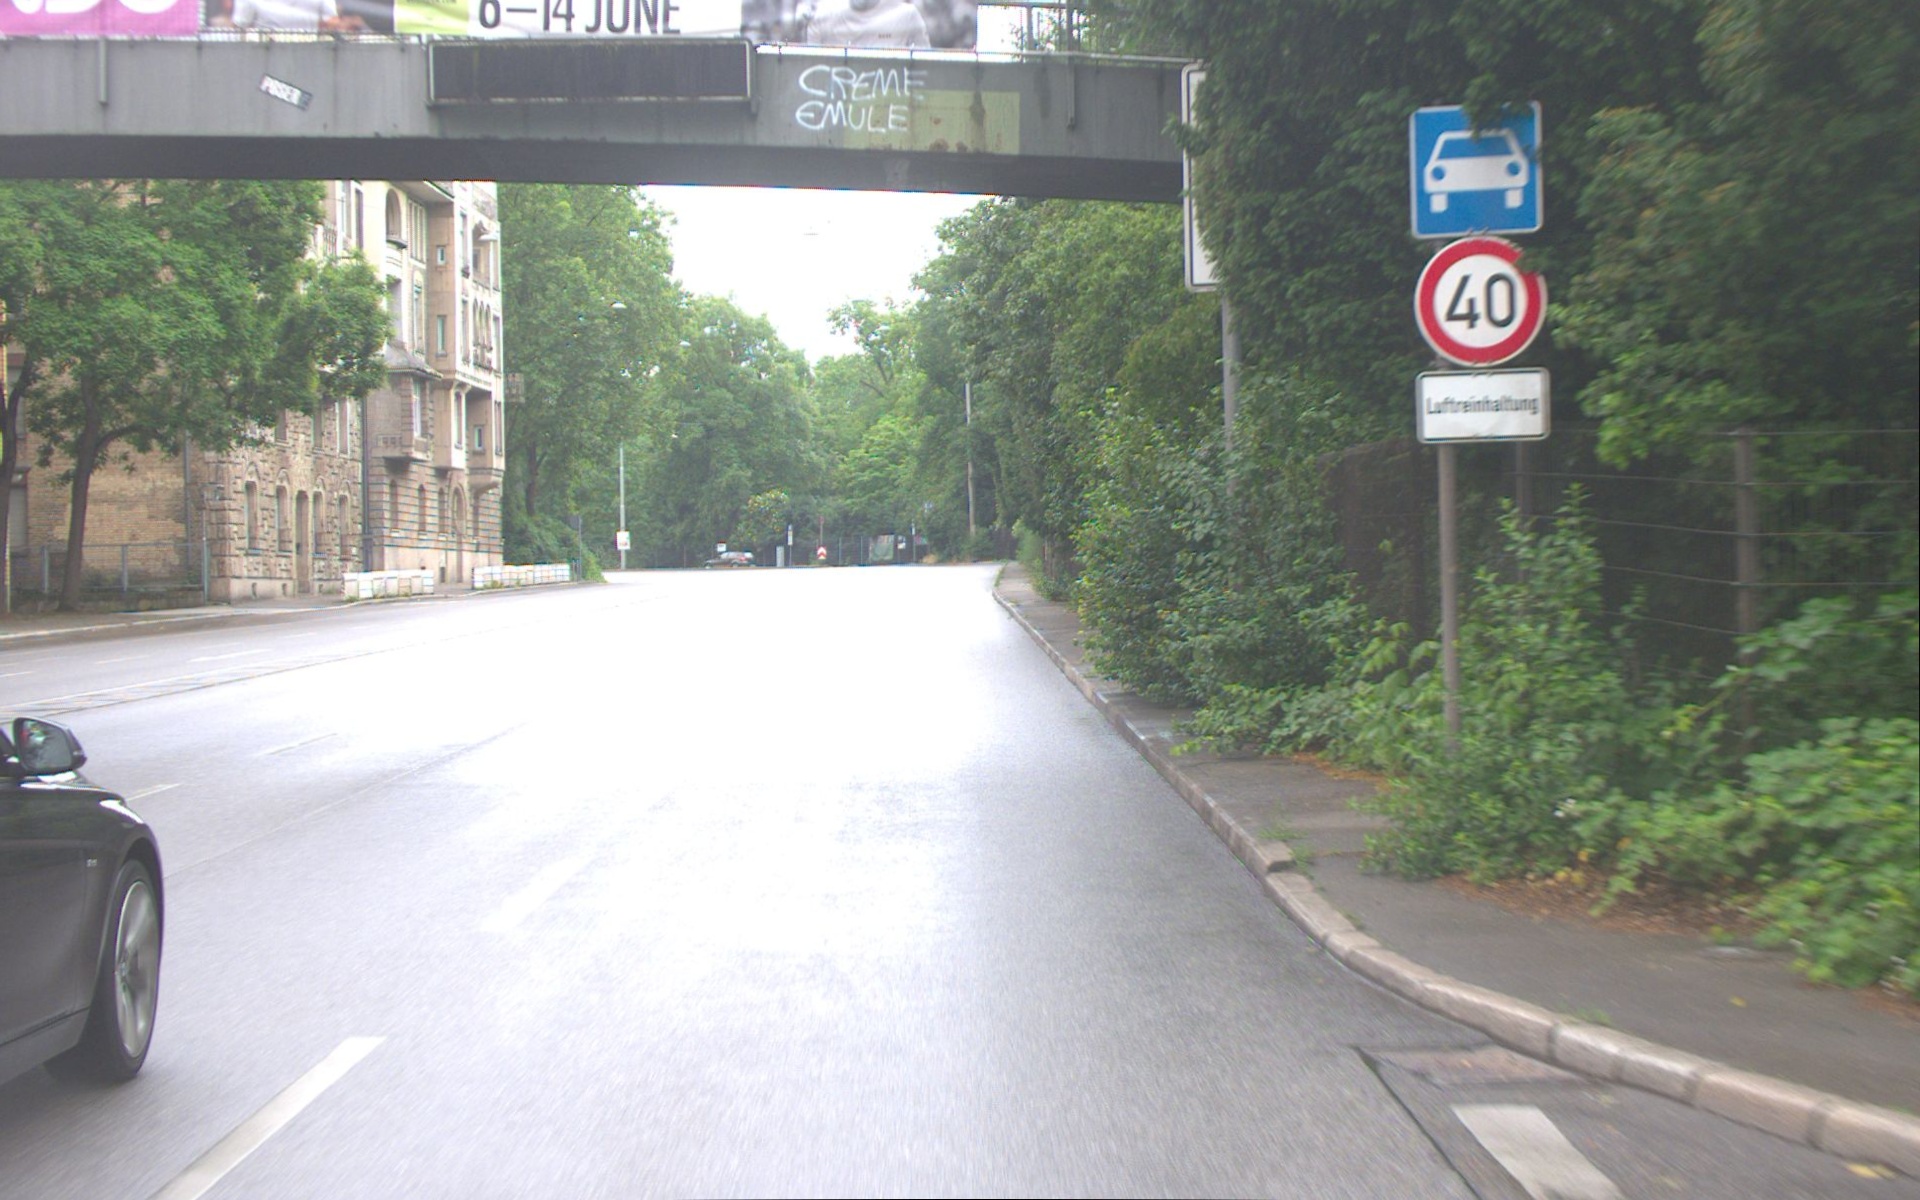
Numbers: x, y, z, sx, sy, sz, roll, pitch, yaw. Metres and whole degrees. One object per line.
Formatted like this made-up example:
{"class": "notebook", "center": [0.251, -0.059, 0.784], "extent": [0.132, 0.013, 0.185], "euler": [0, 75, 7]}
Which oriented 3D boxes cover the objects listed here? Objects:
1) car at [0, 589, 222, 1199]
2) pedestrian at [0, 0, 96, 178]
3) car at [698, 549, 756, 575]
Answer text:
{"class": "car", "center": [-3.117, 0.700, 7.972], "extent": [1.776, 1.453, 4.477], "euler": [1, 0, 1]}
{"class": "pedestrian", "center": [-7.604, -4.662, 27.945], "extent": [0.954, 2.337, 1.007], "euler": [-1, 0, -6]}
{"class": "car", "center": [-15.290, -2.490, 225.727], "extent": [3.587, 1.542, 1.613], "euler": [2, 0, 2]}
